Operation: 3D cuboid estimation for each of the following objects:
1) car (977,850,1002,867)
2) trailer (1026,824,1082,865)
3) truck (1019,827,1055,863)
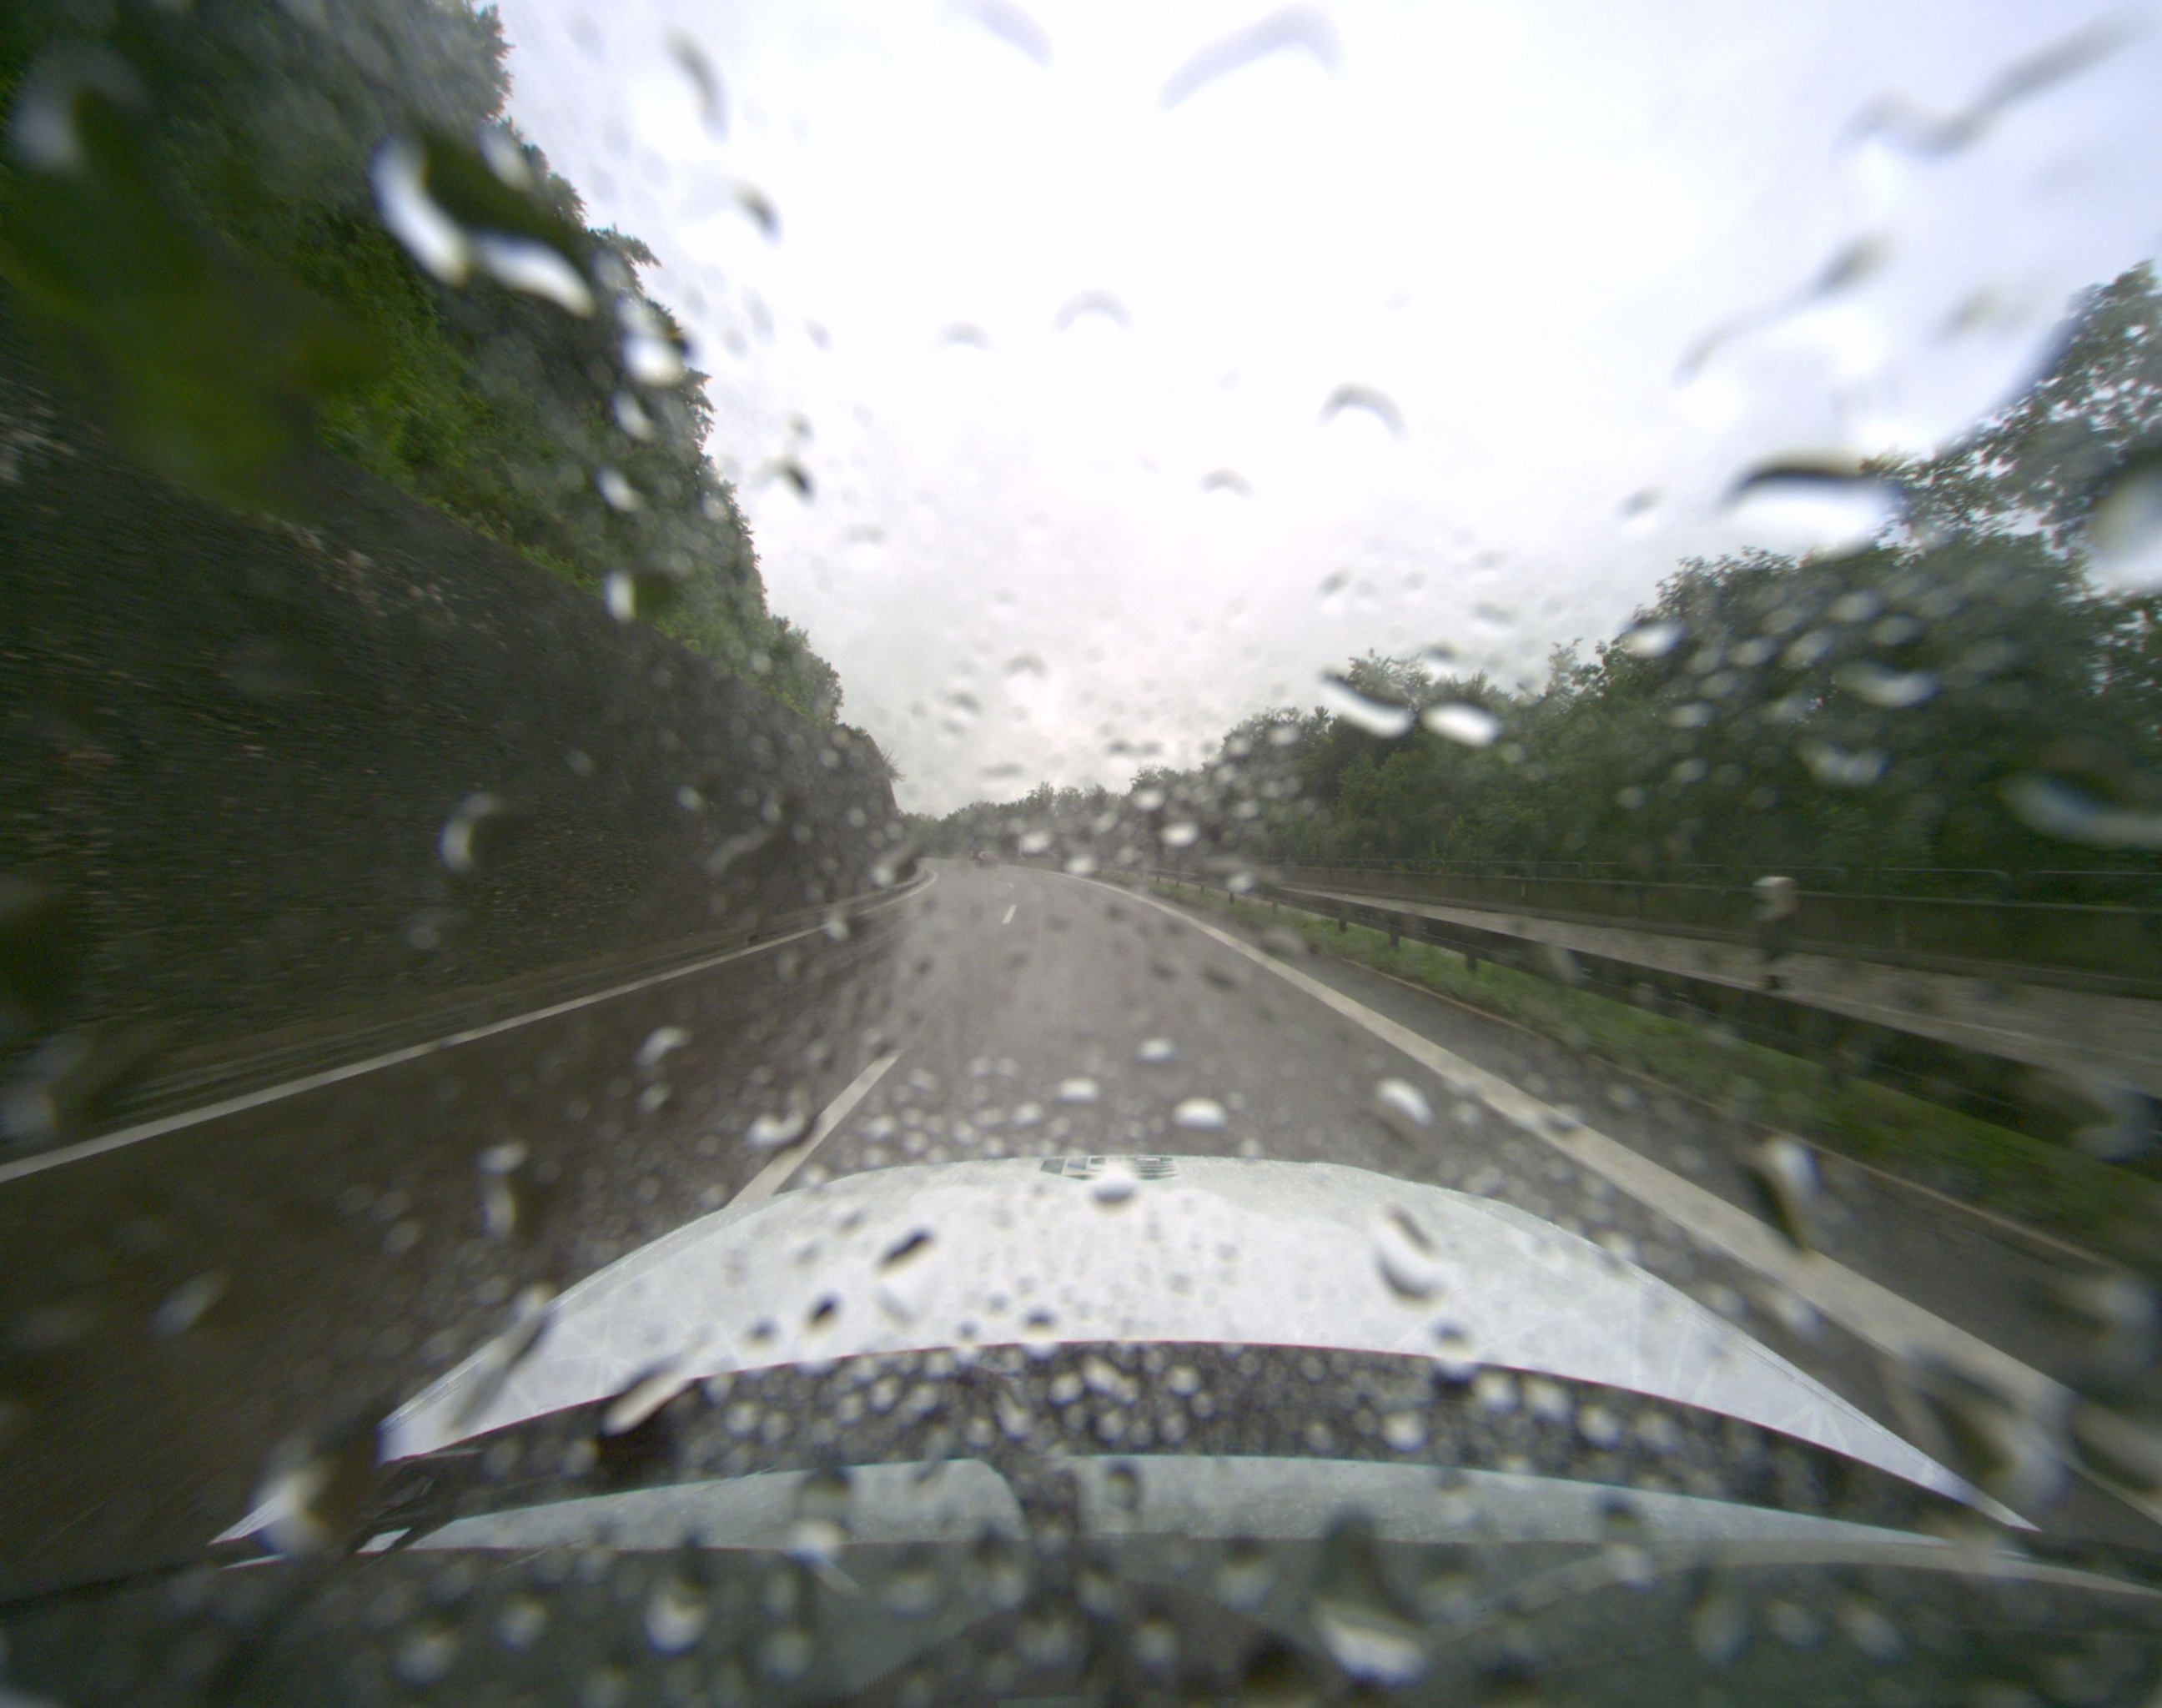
[{"bbox_3d":[-8.549,0.415,76.100,1.905,1.499,3.984,2,0,-12],"label":"car"},{"bbox_3d":[-3.197,-0.976,90.396,2.898,4.245,14.619,0,0,-15],"label":"trailer"},{"bbox_3d":[-5.361,-1.063,98.138,2.902,4.245,6.843,0,0,-16],"label":"truck"}]
